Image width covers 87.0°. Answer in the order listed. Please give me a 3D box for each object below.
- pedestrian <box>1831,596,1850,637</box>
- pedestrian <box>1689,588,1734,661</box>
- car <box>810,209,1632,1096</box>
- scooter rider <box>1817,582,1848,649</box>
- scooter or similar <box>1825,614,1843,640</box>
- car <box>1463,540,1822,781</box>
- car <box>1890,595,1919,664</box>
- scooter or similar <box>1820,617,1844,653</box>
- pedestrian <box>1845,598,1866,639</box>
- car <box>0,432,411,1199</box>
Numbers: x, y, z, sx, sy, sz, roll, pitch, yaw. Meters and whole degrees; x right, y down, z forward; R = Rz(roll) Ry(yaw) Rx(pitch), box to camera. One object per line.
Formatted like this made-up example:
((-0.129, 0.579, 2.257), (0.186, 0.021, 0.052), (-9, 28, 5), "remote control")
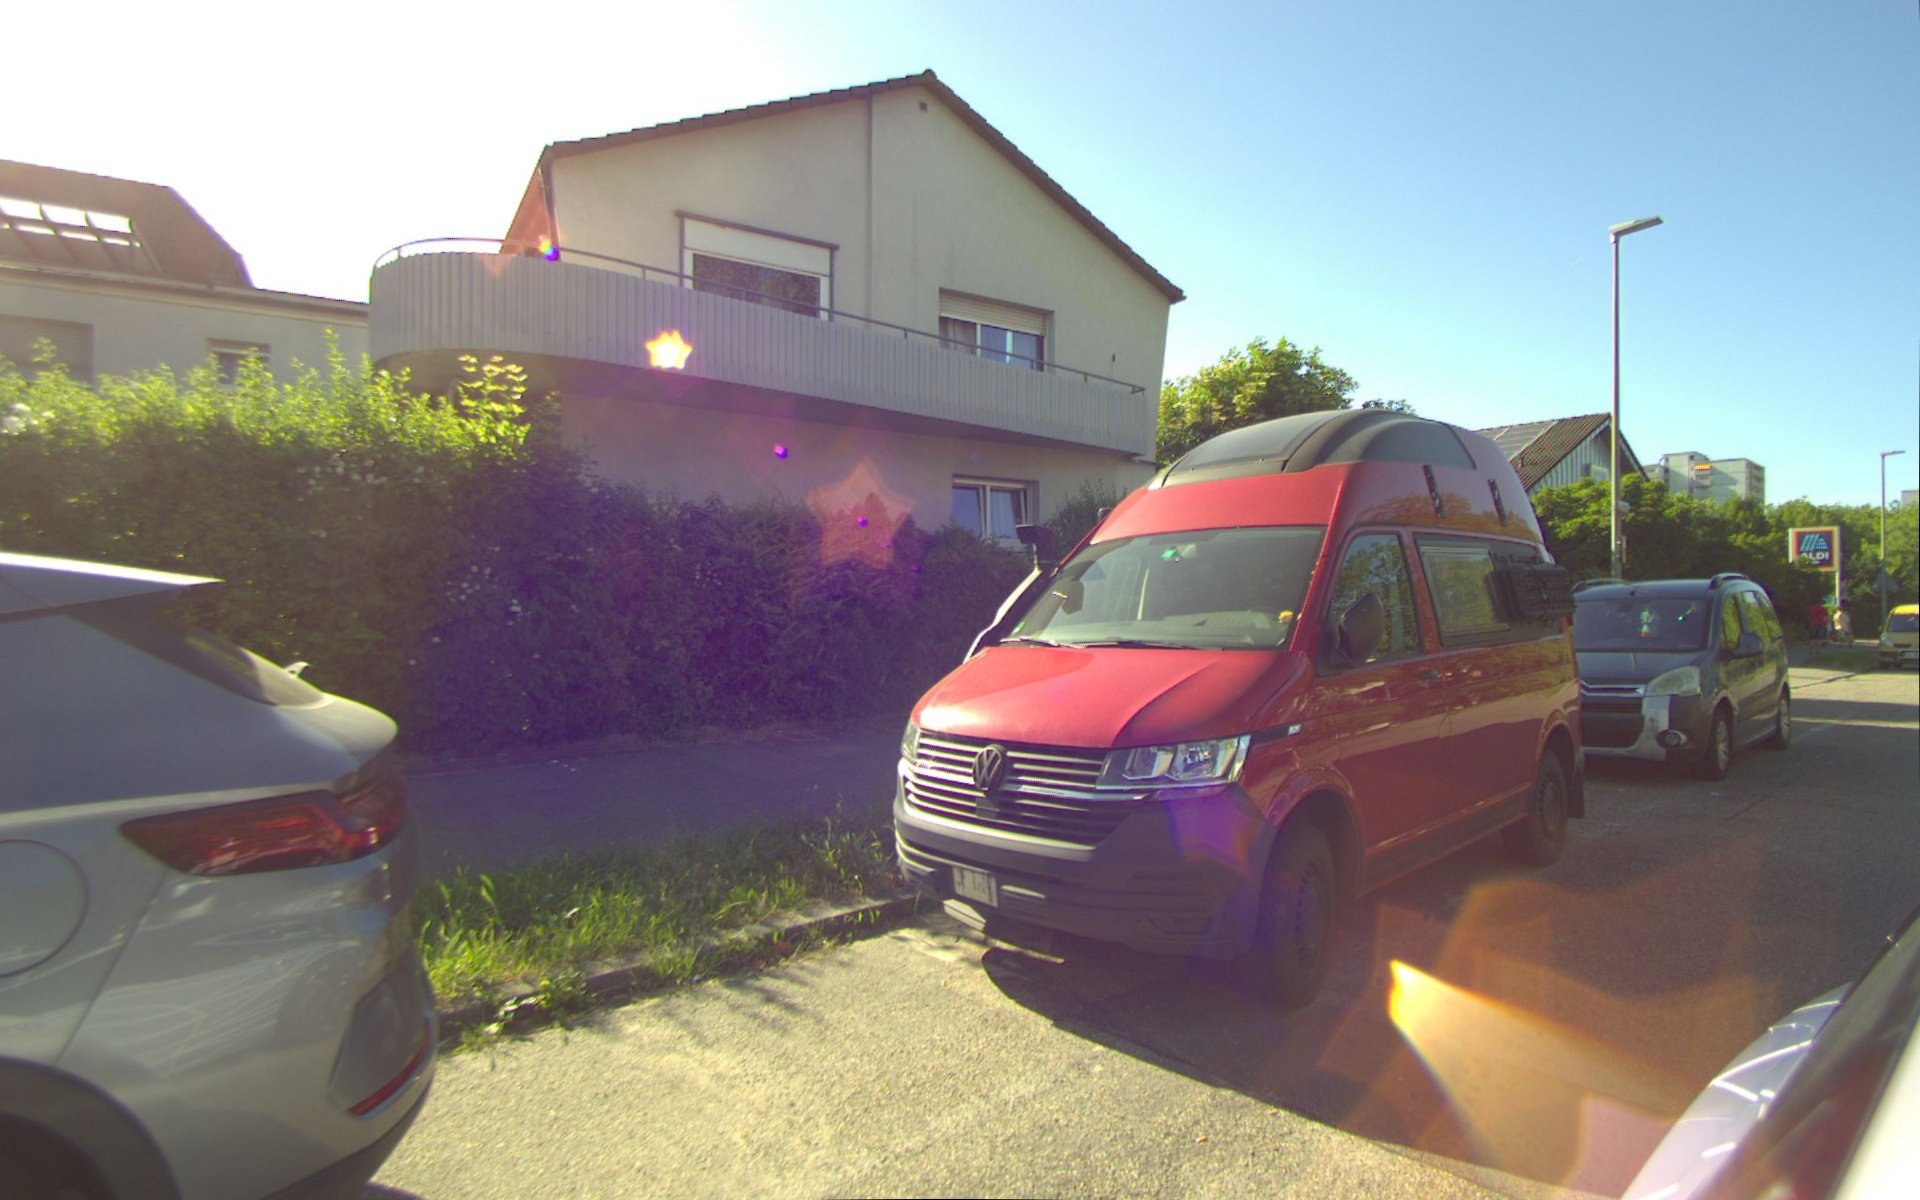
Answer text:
((38.397, 0.713, 44.125), (0.580, 1.790, 0.541), (1, -1, -41), "pedestrian")
((18.145, 0.579, 24.434), (0.882, 1.709, 0.634), (1, 3, -44), "pedestrian")
((1.855, 0.164, 5.556), (5.136, 2.678, 1.958), (0, -1, -44), "car")
((27.058, 0.479, 31.375), (0.598, 2.038, 0.479), (5, 3, 44), "scooter rider")
((37.740, 1.156, 43.704), (0.826, 1.092, 0.478), (1, -1, -42), "scooter or similar")
((6.922, 0.506, 10.066), (4.481, 1.872, 1.859), (0, -2, -42), "car")
((26.636, 0.764, 27.492), (3.912, 1.799, 1.619), (0, -1, -41), "car")
((27.102, 1.079, 31.460), (0.456, 1.043, 1.033), (5, 3, 43), "scooter or similar")
((39.265, 0.817, 44.370), (0.670, 1.790, 0.581), (0, -1, 41), "pedestrian")
((-3.328, 0.638, 1.094), (4.497, 1.760, 1.959), (0, -1, -42), "car")
